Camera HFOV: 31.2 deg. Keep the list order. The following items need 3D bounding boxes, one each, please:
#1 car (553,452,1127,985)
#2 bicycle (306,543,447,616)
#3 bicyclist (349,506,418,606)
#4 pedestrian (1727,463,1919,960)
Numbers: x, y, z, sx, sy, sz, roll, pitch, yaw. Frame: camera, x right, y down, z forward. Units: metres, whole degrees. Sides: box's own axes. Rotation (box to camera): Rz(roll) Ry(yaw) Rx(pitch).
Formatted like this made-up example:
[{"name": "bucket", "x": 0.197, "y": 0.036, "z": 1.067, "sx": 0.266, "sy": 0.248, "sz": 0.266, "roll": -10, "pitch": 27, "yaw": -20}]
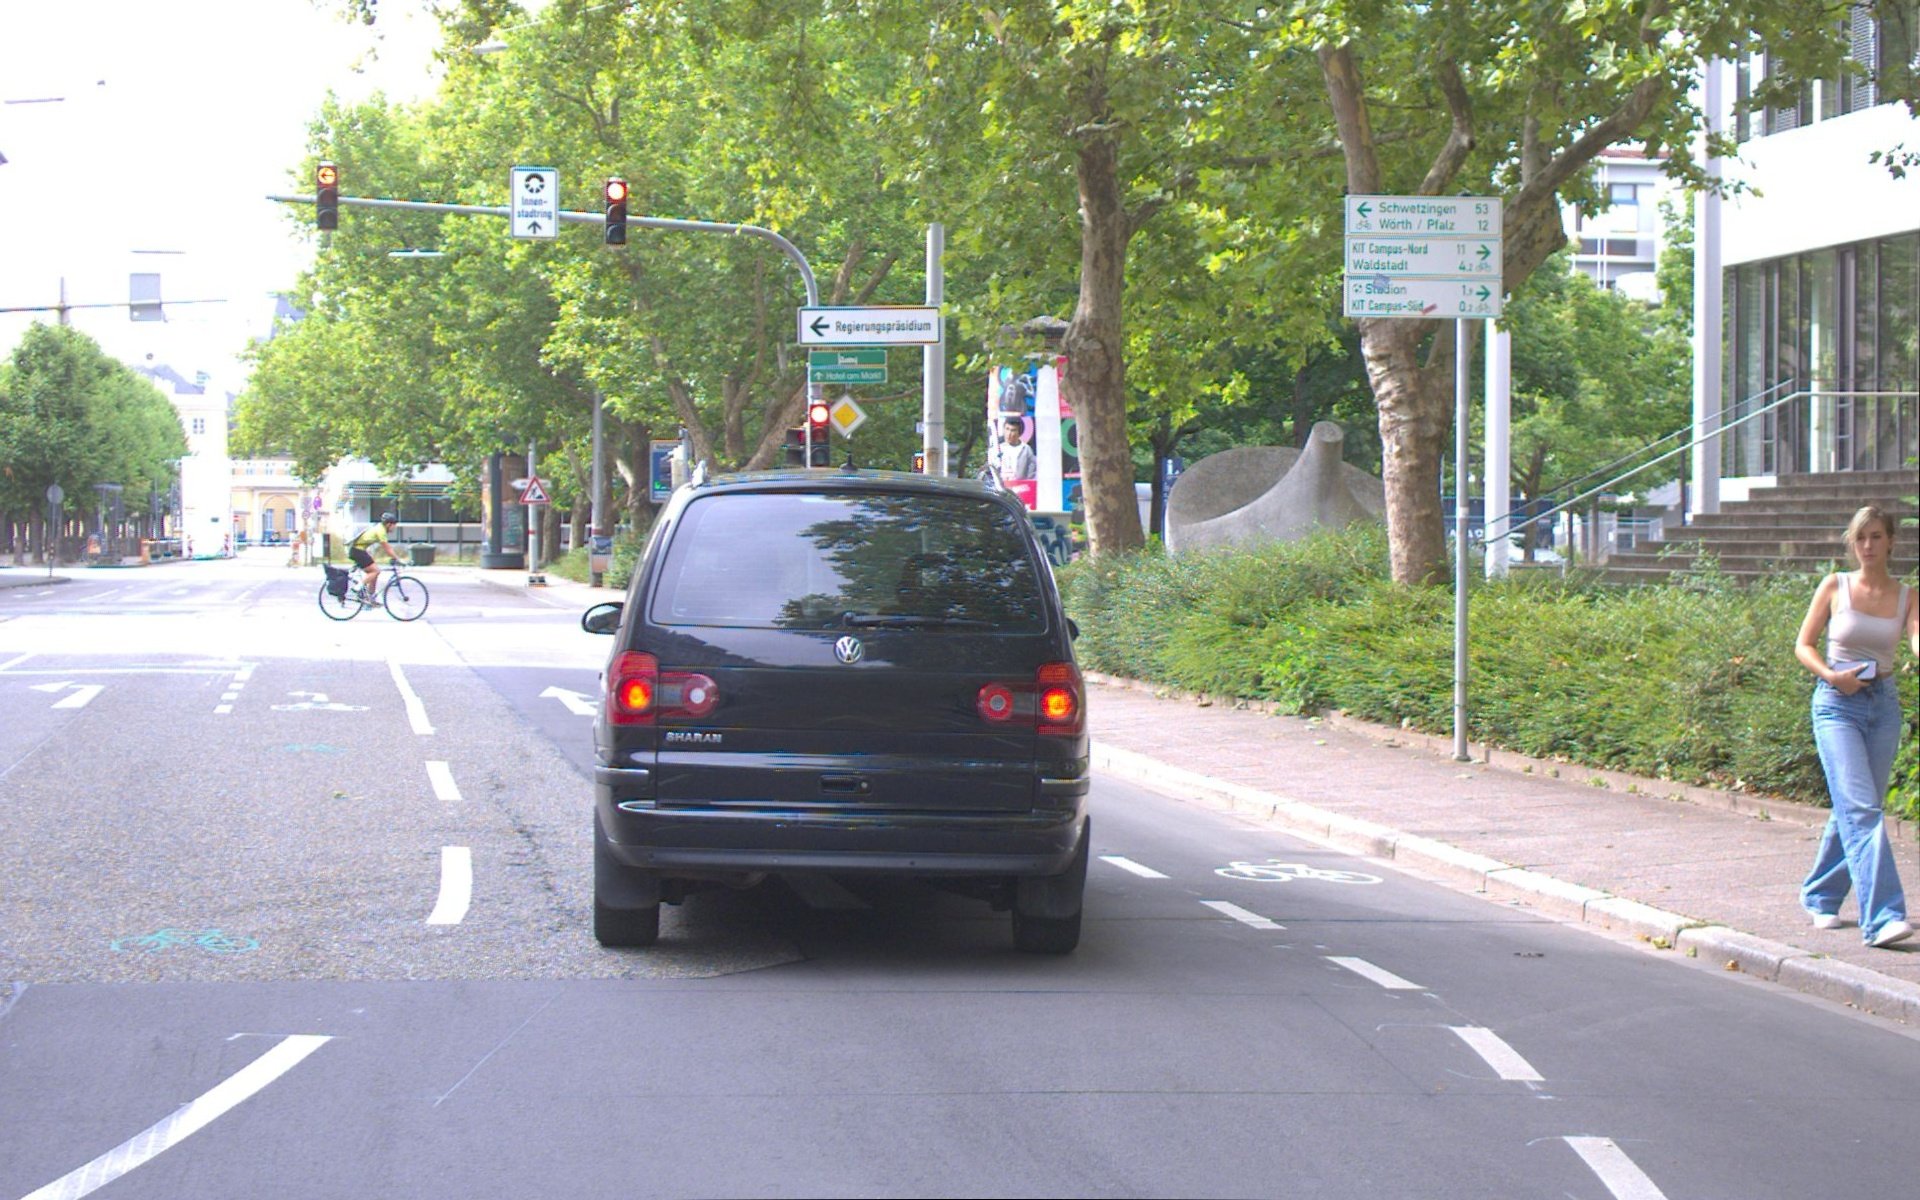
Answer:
[{"name": "car", "x": -0.417, "y": 0.339, "z": 13.618, "sx": 1.874, "sy": 1.739, "sz": 4.574, "roll": 1, "pitch": 1, "yaw": -1}, {"name": "bicycle", "x": -8.861, "y": -0.316, "z": 52.224, "sx": 2.018, "sy": 1.090, "sz": 0.627, "roll": 0, "pitch": 1, "yaw": -23}, {"name": "bicyclist", "x": -8.768, "y": -0.672, "z": 52.251, "sx": 0.914, "sy": 1.509, "sz": 0.626, "roll": 0, "pitch": 1, "yaw": -22}, {"name": "pedestrian", "x": 3.444, "y": 0.386, "z": 12.886, "sx": 0.710, "sy": 1.777, "sz": 1.034, "roll": -2, "pitch": 1, "yaw": -11}]
